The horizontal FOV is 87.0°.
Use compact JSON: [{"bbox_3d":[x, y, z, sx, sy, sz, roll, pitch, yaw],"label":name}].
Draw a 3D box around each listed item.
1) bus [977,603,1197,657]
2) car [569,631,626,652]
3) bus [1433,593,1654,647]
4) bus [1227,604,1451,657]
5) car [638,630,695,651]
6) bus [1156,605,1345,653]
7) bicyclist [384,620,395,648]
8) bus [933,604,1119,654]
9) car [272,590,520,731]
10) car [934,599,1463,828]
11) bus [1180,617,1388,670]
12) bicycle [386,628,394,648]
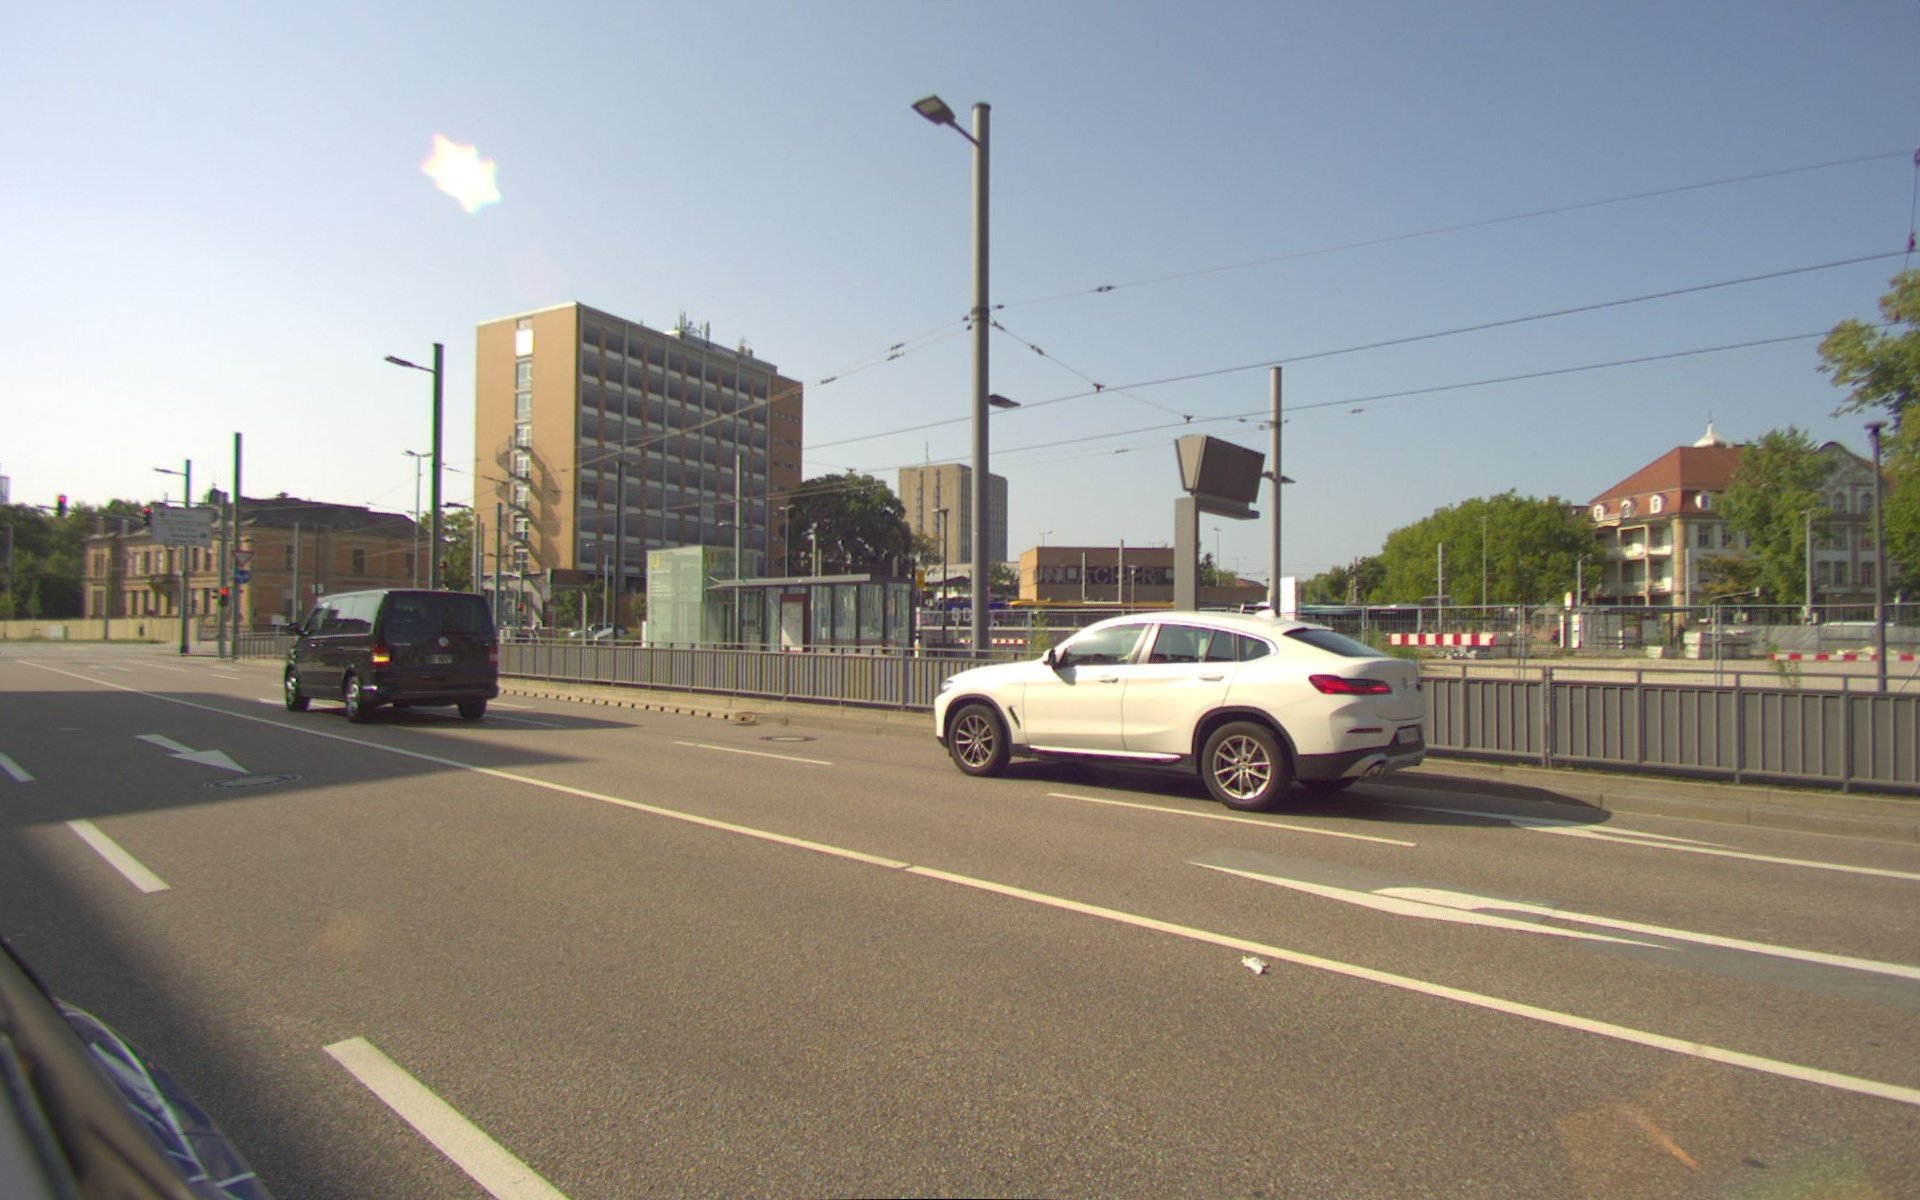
[{"bbox_3d":[7.751,1.891,62.794,13.111,3.203,3.229,0,-2,-6],"label":"bus"},{"bbox_3d":[-30.378,3.490,84.873,4.217,1.720,1.958,2,-5,-32],"label":"car"},{"bbox_3d":[38.811,1.393,67.547,13.115,3.445,3.228,0,-2,-4],"label":"bus"},{"bbox_3d":[23.828,1.929,63.874,13.109,3.203,3.229,0,-2,-6],"label":"bus"},{"bbox_3d":[-22.493,3.116,77.624,3.930,1.608,2.006,1,-2,-25],"label":"car"},{"bbox_3d":[21.356,2.155,74.780,13.115,3.445,3.228,0,-2,-4],"label":"bus"},{"bbox_3d":[-34.117,2.050,60.518,0.503,1.642,0.810,1,-3,-34],"label":"bicyclist"},{"bbox_3d":[4.704,2.132,73.398,13.115,3.445,3.228,0,-2,-4],"label":"bus"},{"bbox_3d":[-9.101,0.910,16.151,4.714,1.919,1.972,-1,-4,42],"label":"car"},{"bbox_3d":[1.983,0.882,9.349,4.503,1.624,1.695,-1,-4,42],"label":"car"},{"bbox_3d":[21.881,2.959,68.722,13.115,3.445,3.228,0,-2,-4],"label":"bus"},{"bbox_3d":[-34.078,2.289,60.507,0.306,1.174,1.503,1,-3,-33],"label":"bicycle"}]
